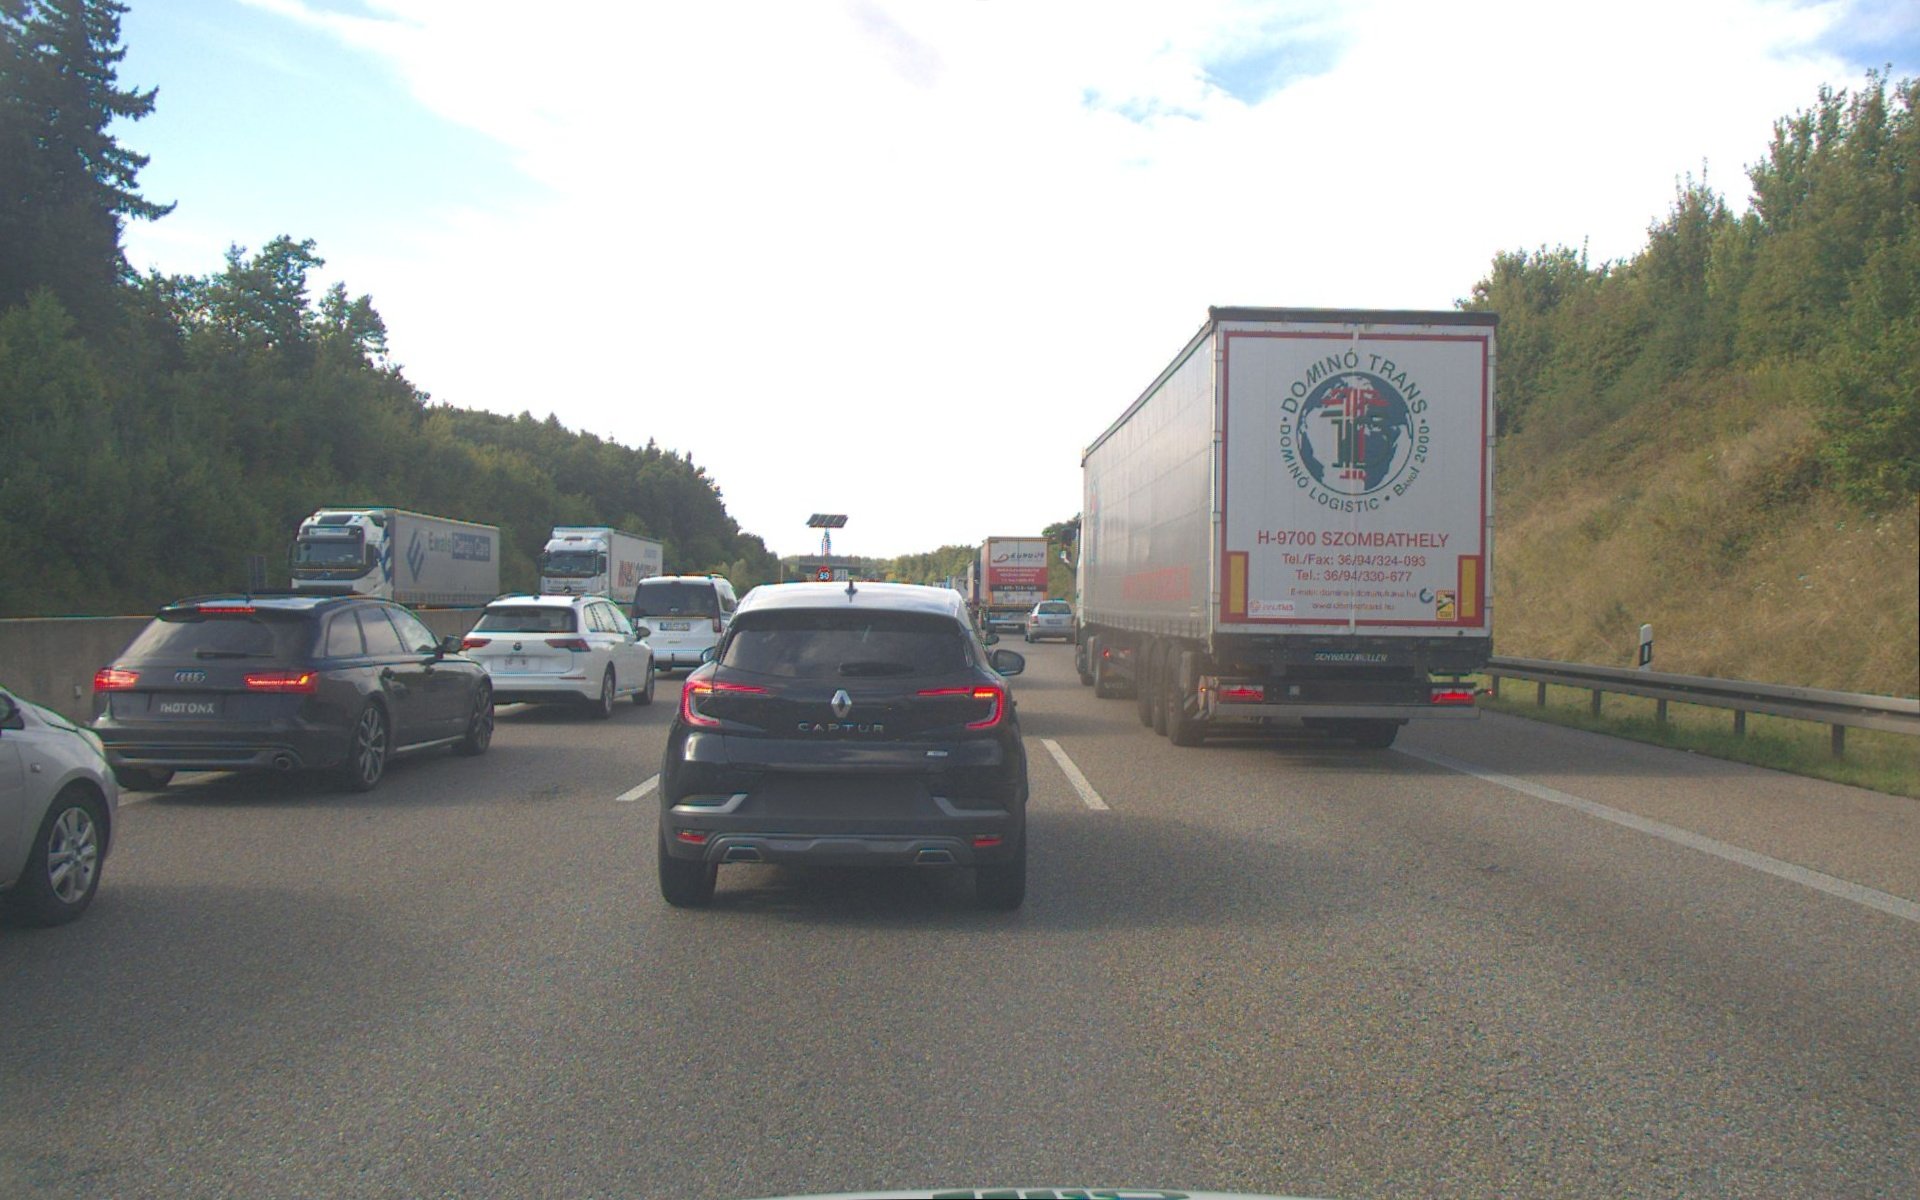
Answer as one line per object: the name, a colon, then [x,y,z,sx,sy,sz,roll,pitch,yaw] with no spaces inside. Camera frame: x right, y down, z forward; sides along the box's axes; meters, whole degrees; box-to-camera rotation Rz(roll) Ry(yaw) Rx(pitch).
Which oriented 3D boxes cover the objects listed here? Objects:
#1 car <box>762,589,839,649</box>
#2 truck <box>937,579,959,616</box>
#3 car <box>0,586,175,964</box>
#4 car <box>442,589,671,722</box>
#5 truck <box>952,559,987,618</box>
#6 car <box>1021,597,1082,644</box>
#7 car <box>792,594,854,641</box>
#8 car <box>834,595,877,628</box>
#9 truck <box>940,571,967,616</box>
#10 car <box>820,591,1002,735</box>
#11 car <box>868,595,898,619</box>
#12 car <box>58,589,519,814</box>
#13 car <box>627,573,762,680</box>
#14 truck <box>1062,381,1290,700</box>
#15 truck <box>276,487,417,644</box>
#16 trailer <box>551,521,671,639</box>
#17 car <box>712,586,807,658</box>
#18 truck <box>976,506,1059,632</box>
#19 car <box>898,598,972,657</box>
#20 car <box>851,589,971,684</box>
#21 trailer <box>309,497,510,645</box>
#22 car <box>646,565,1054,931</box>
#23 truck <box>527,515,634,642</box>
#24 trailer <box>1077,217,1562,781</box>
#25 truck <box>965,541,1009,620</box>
car: [-4.858,0.571,50.965,1.953,1.752,4.000,1,0,0]
truck: [-1.816,-0.336,255.248,3.101,5.601,12.736,1,0,0]
car: [-4.638,0.693,5.969,1.711,1.491,4.040,0,0,-1]
car: [-4.920,0.639,20.796,1.767,1.486,4.308,1,0,1]
truck: [1.049,-1.073,164.071,3.101,5.601,12.739,1,0,2]
car: [3.141,0.699,57.484,1.768,1.559,3.924,1,0,-1]
car: [-5.033,0.640,61.165,1.953,1.641,4.000,1,0,0]
car: [-5.331,0.555,84.715,1.953,1.641,4.000,1,0,0]
truck: [-0.711,-0.719,198.150,3.101,5.250,12.736,1,0,0]
car: [-0.532,0.698,20.028,1.953,1.540,4.000,1,0,0]
car: [-5.410,0.469,116.528,1.953,1.641,4.000,1,0,0]
car: [-5.138,0.675,13.475,1.805,1.481,4.747,1,0,0]
car: [-4.868,0.472,30.848,1.873,1.821,4.416,1,0,-1]
truck: [3.417,-0.901,27.758,2.936,4.749,5.938,1,0,-1]
truck: [-20.330,-1.074,55.048,2.872,4.944,4.764,1,-1,-1]
trailer: [-16.569,-0.823,79.715,3.025,5.162,13.831,1,0,-1]
car: [-4.945,0.530,41.234,1.817,1.669,3.925,1,0,0]
truck: [2.427,-1.246,74.589,3.296,5.132,12.736,1,0,0]
car: [-0.661,0.736,46.082,1.953,1.540,4.000,1,0,0]
car: [-0.807,0.615,29.262,1.953,1.540,4.000,1,0,0]
trailer: [-20.451,-0.934,62.773,2.867,4.914,14.650,1,0,-1]
car: [-0.417,0.646,9.204,1.767,1.579,4.001,0,0,2]
truck: [-16.416,-0.864,72.135,3.025,5.190,7.140,1,-1,-1]
trailer: [3.526,-0.871,20.669,2.941,4.742,13.287,1,0,-1]
truck: [1.959,-1.358,124.841,3.101,5.601,12.736,1,0,0]
